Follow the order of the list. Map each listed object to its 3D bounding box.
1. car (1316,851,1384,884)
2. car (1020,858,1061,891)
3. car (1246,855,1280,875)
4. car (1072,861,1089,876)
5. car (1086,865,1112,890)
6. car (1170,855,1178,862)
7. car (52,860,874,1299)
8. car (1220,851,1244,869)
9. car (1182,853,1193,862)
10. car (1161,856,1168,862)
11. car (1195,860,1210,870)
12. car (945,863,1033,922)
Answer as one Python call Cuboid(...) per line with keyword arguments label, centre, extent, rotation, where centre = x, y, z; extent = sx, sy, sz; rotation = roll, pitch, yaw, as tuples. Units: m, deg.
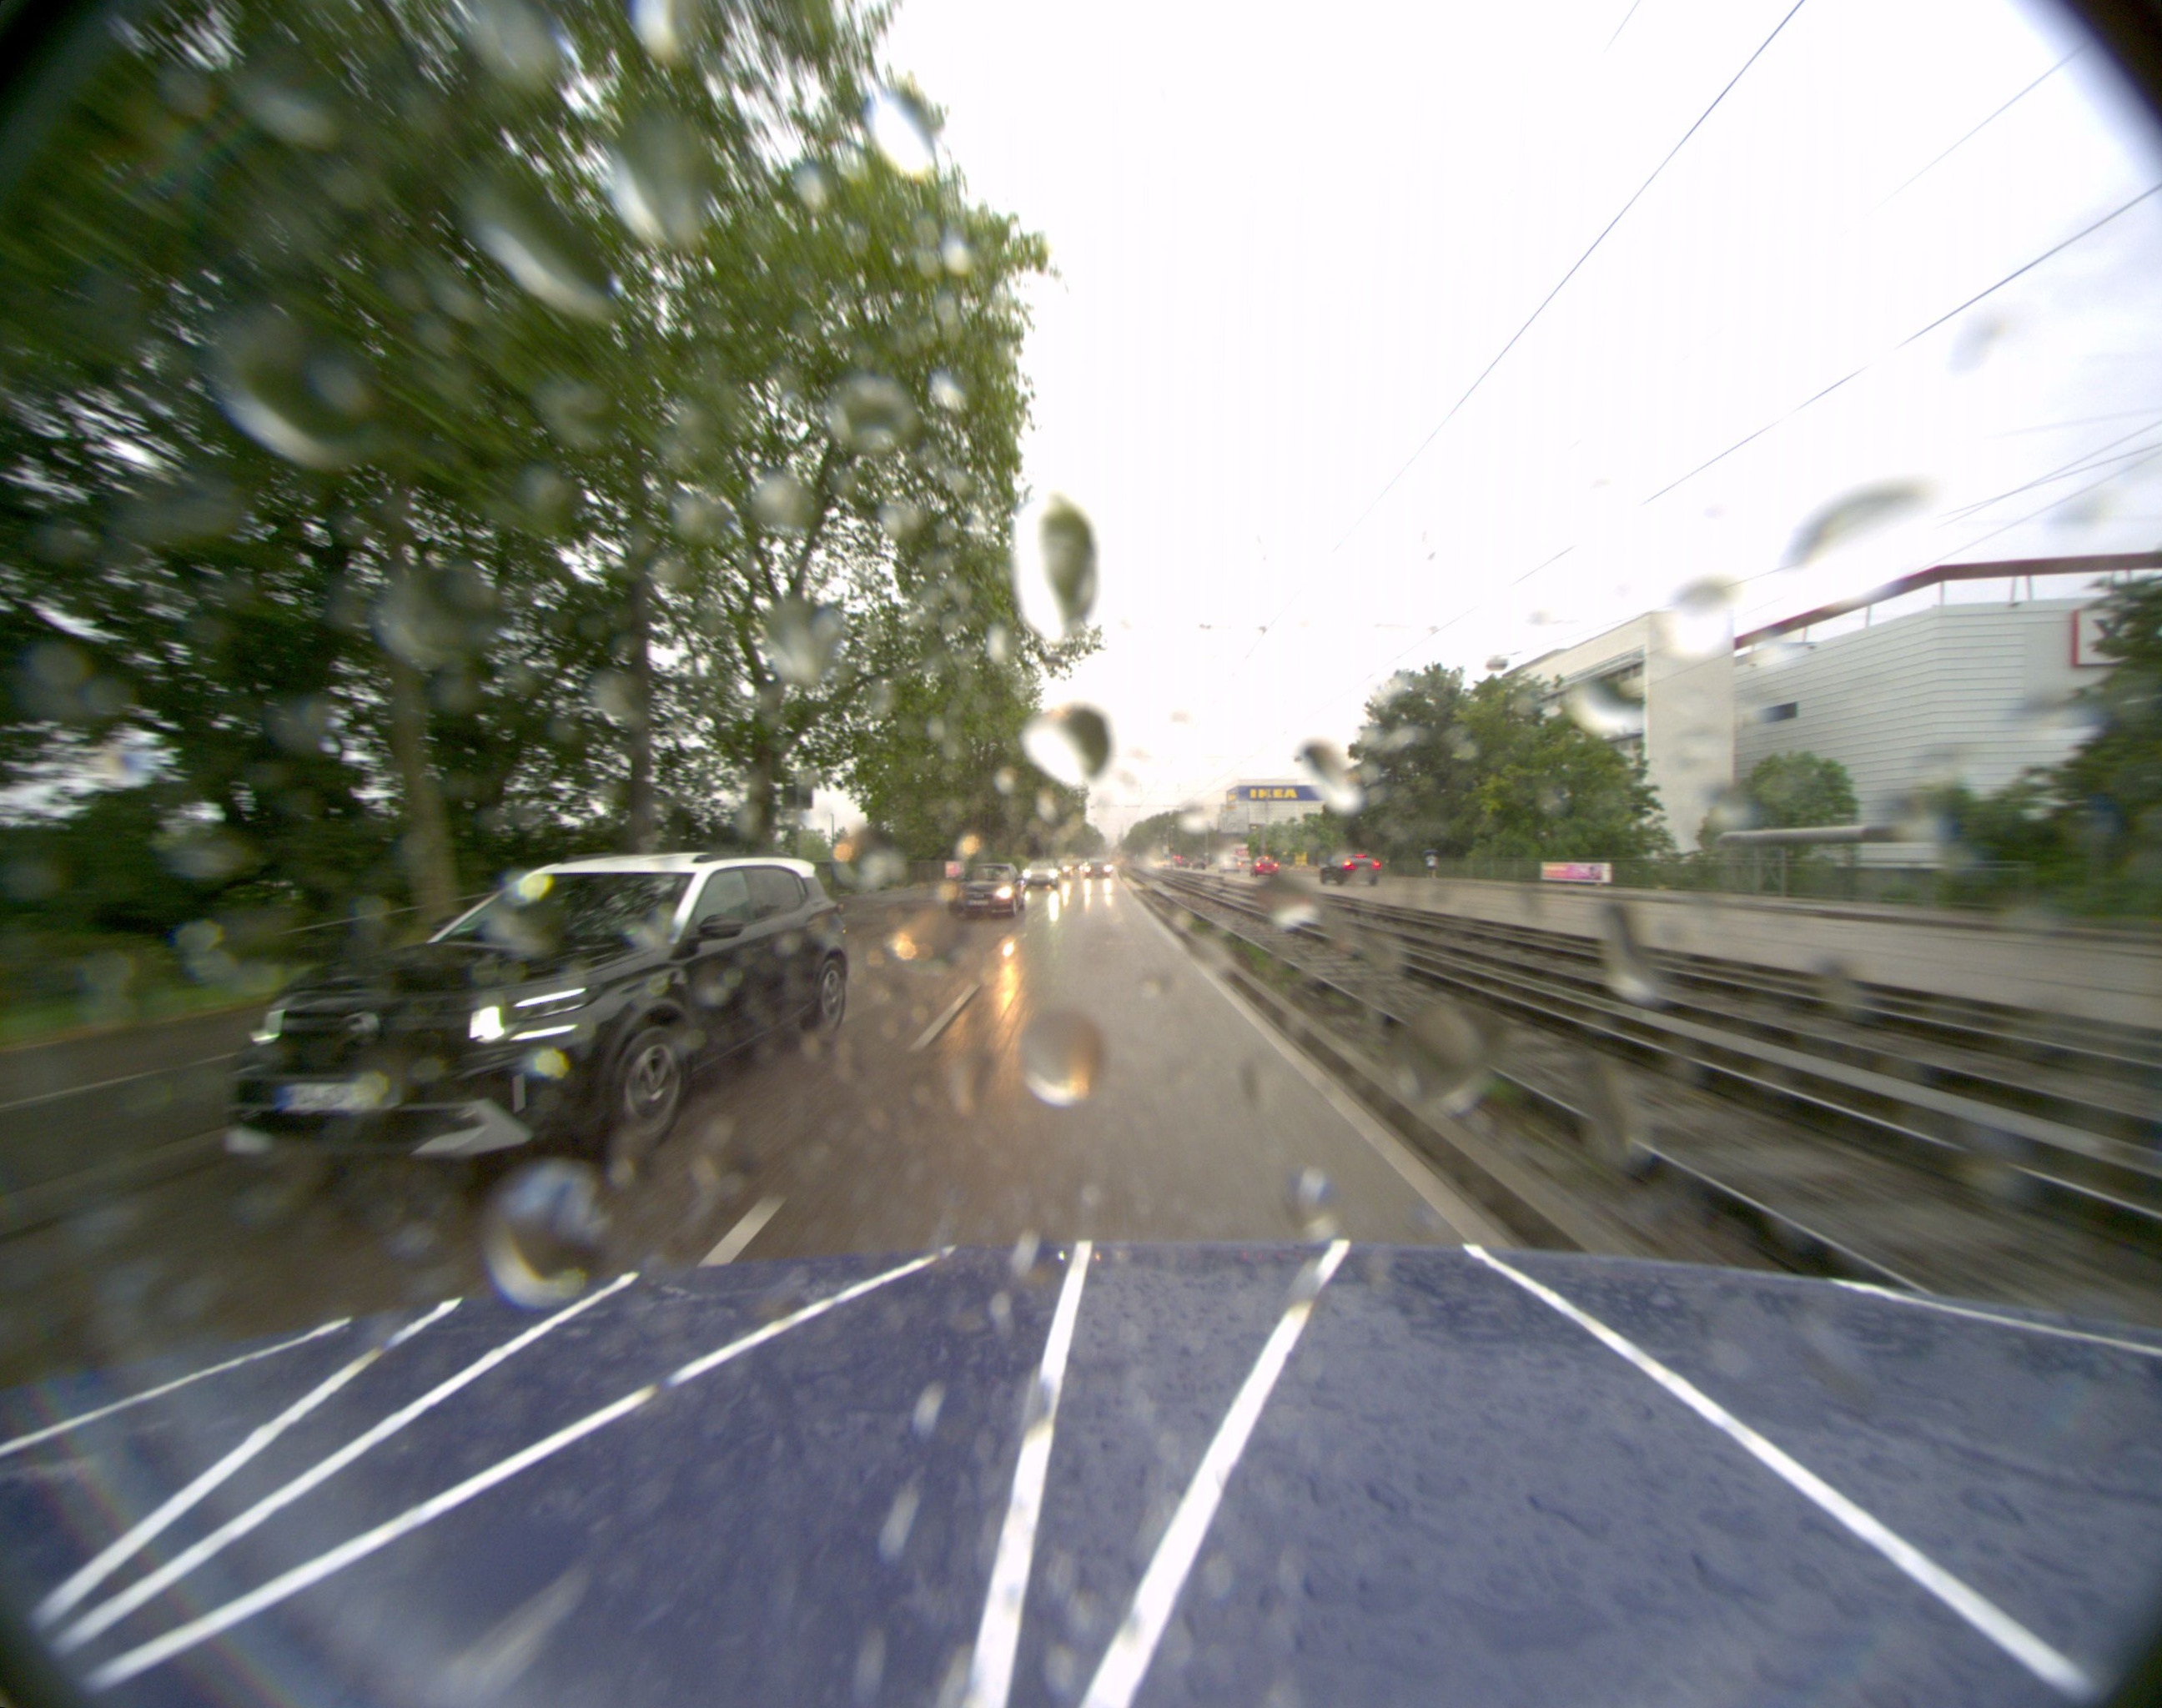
Cuboid(label="car", centre=(14.040, 0.691, 39.933), extent=(1.942, 1.642, 4.872), rotation=(0, 0, 2))
Cuboid(label="car", centre=(-1.957, 0.982, 37.812), extent=(1.807, 1.521, 3.645), rotation=(-2, -1, 0))
Cuboid(label="car", centre=(13.847, 0.811, 57.932), extent=(1.708, 1.445, 4.001), rotation=(0, 0, 1))
Cuboid(label="car", centre=(-0.059, 1.623, 86.935), extent=(1.846, 1.572, 3.838), rotation=(-2, -1, 0))
Cuboid(label="car", centre=(1.328, 1.684, 54.977), extent=(1.815, 1.692, 4.001), rotation=(-1, 0, 2))
Cuboid(label="car", centre=(20.298, 0.989, 165.597), extent=(1.570, 1.536, 4.002), rotation=(-1, -1, 4))
Cuboid(label="car", centre=(-3.100, 0.919, 5.381), extent=(1.797, 1.692, 4.764), rotation=(-2, -1, 2))
Cuboid(label="car", centre=(15.899, 0.636, 80.149), extent=(1.845, 1.898, 4.001), rotation=(0, 0, 2))
Cuboid(label="car", centre=(18.550, 0.612, 132.681), extent=(1.648, 1.536, 4.001), rotation=(0, 0, 4))
Cuboid(label="car", centre=(20.671, 1.188, 188.944), extent=(1.570, 1.525, 4.002), rotation=(0, 0, 4))
Cuboid(label="car", centre=(17.995, 1.633, 112.472), extent=(1.708, 1.536, 4.001), rotation=(0, 0, 2))
Cuboid(label="car", centre=(-2.390, 0.976, 20.685), extent=(1.784, 1.419, 4.001), rotation=(-1, -1, 2))
